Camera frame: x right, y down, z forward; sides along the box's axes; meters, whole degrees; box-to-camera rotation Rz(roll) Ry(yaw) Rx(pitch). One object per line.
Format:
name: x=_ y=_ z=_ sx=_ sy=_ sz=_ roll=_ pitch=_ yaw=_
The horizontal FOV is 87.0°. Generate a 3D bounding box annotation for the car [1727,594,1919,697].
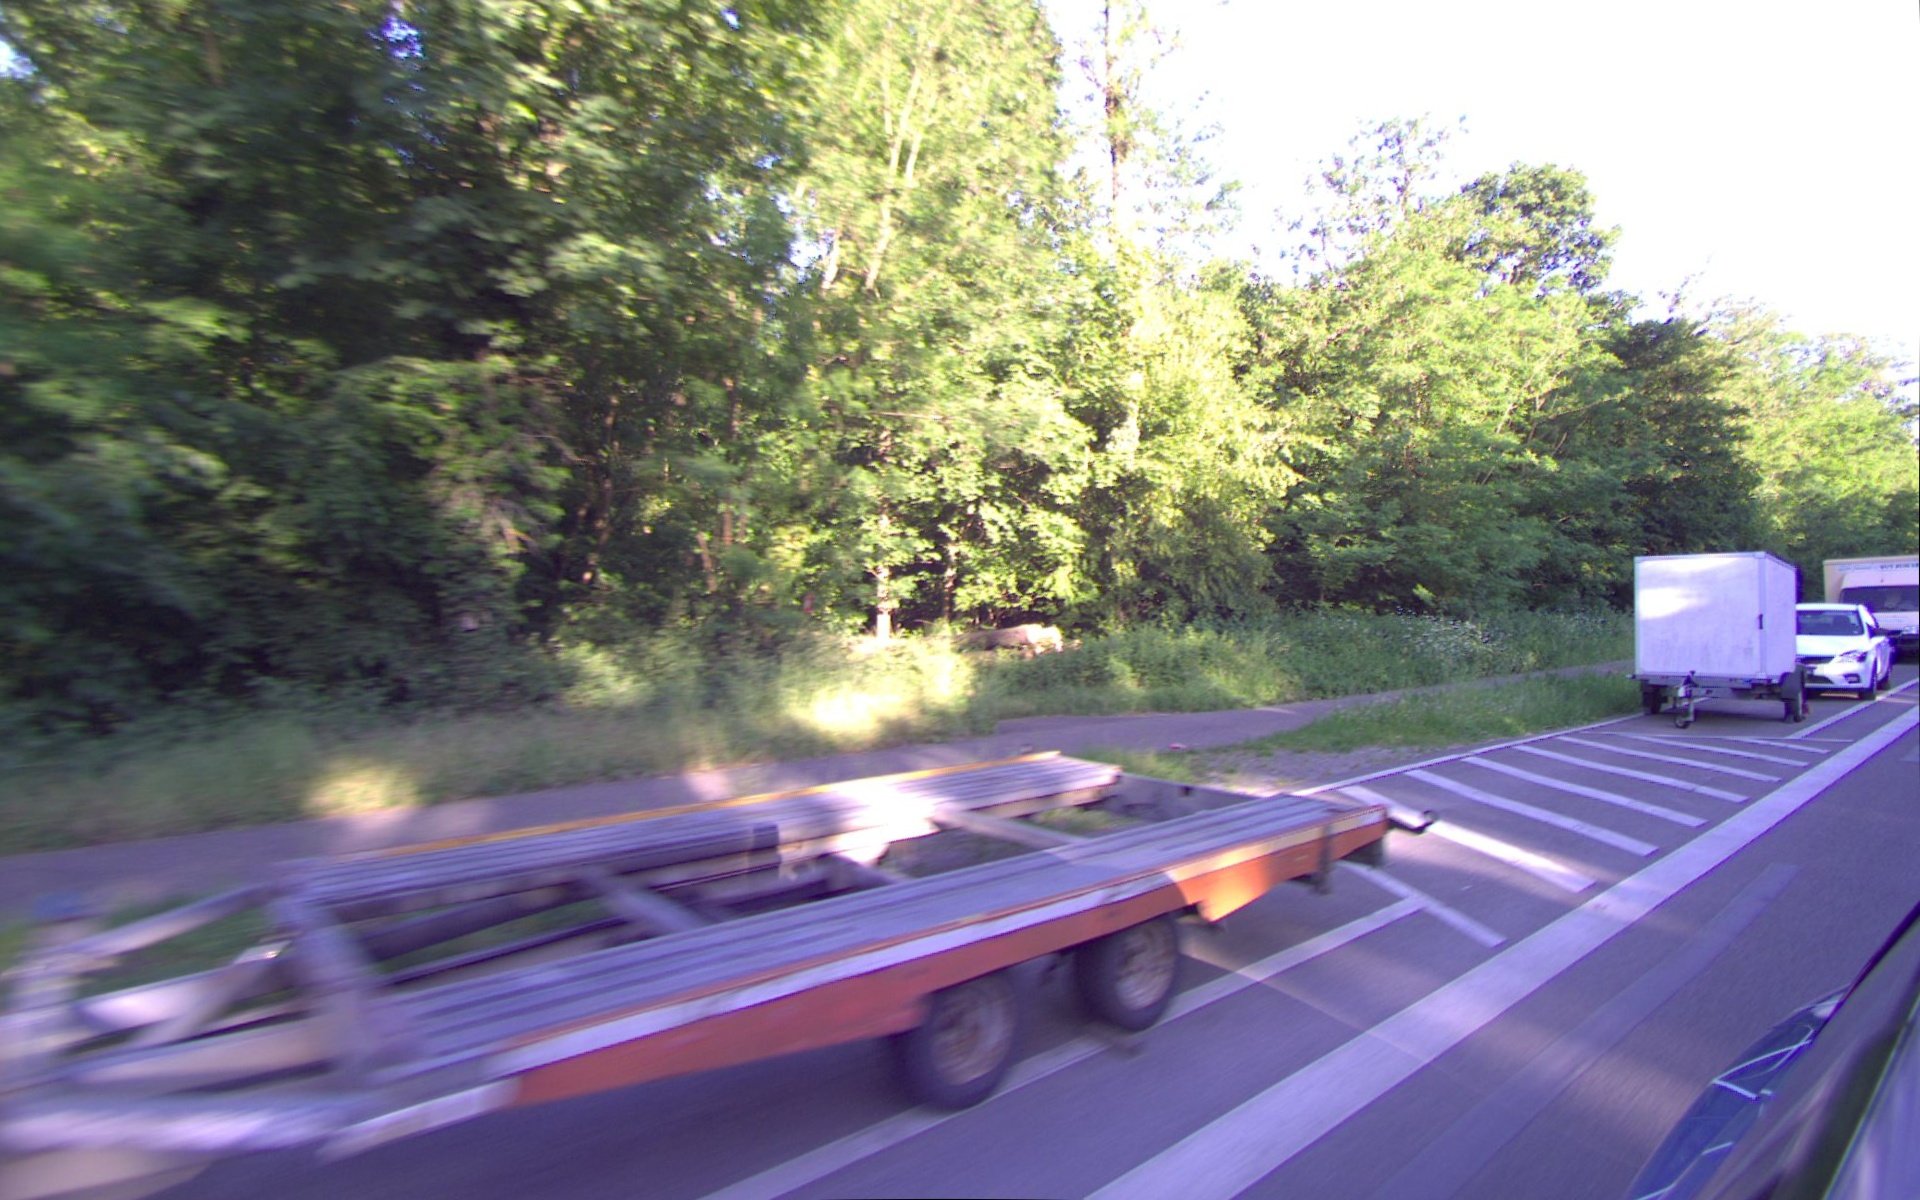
car: x=14.587 y=0.654 z=16.984 sx=4.490 sy=1.486 sz=1.891 roll=0 pitch=1 yaw=-41

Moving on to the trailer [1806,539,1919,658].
trailer: x=26.330 y=-0.078 z=28.175 sx=9.715 sy=2.878 sz=2.924 roll=-1 pitch=-1 yaw=-42

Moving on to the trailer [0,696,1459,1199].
trailer: x=-0.676 y=1.039 z=3.560 sx=5.561 sy=0.808 sz=2.437 roll=-1 pitch=1 yaw=-41

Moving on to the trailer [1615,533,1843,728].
trailer: x=10.070 y=0.321 z=13.177 sx=3.479 sy=2.189 sz=1.757 roll=0 pitch=1 yaw=-42
